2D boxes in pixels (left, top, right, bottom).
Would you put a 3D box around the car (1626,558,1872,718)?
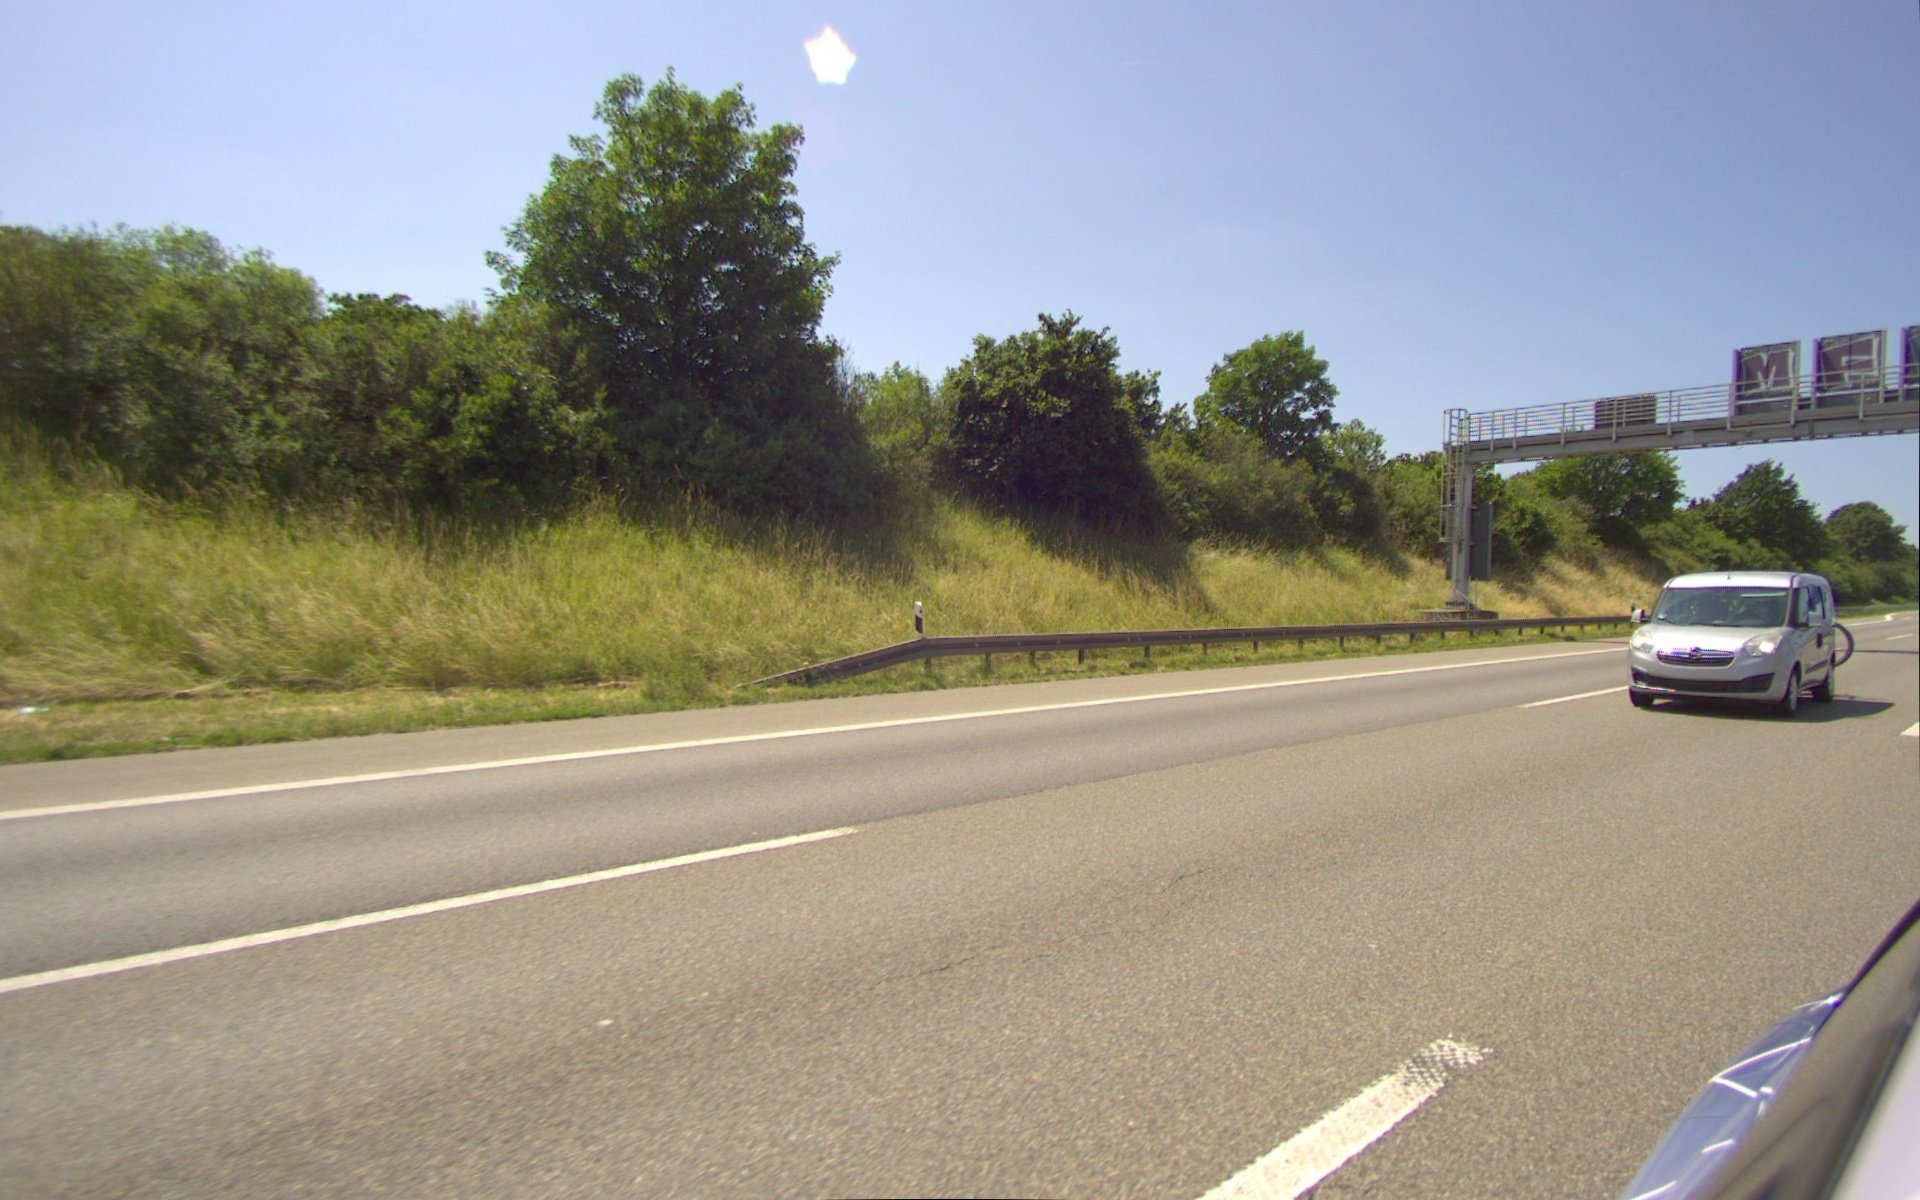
[{"bbox_3d":[11.250,0.429,14.266,5.220,1.870,1.810,0,0,-41],"label":"car"}]
